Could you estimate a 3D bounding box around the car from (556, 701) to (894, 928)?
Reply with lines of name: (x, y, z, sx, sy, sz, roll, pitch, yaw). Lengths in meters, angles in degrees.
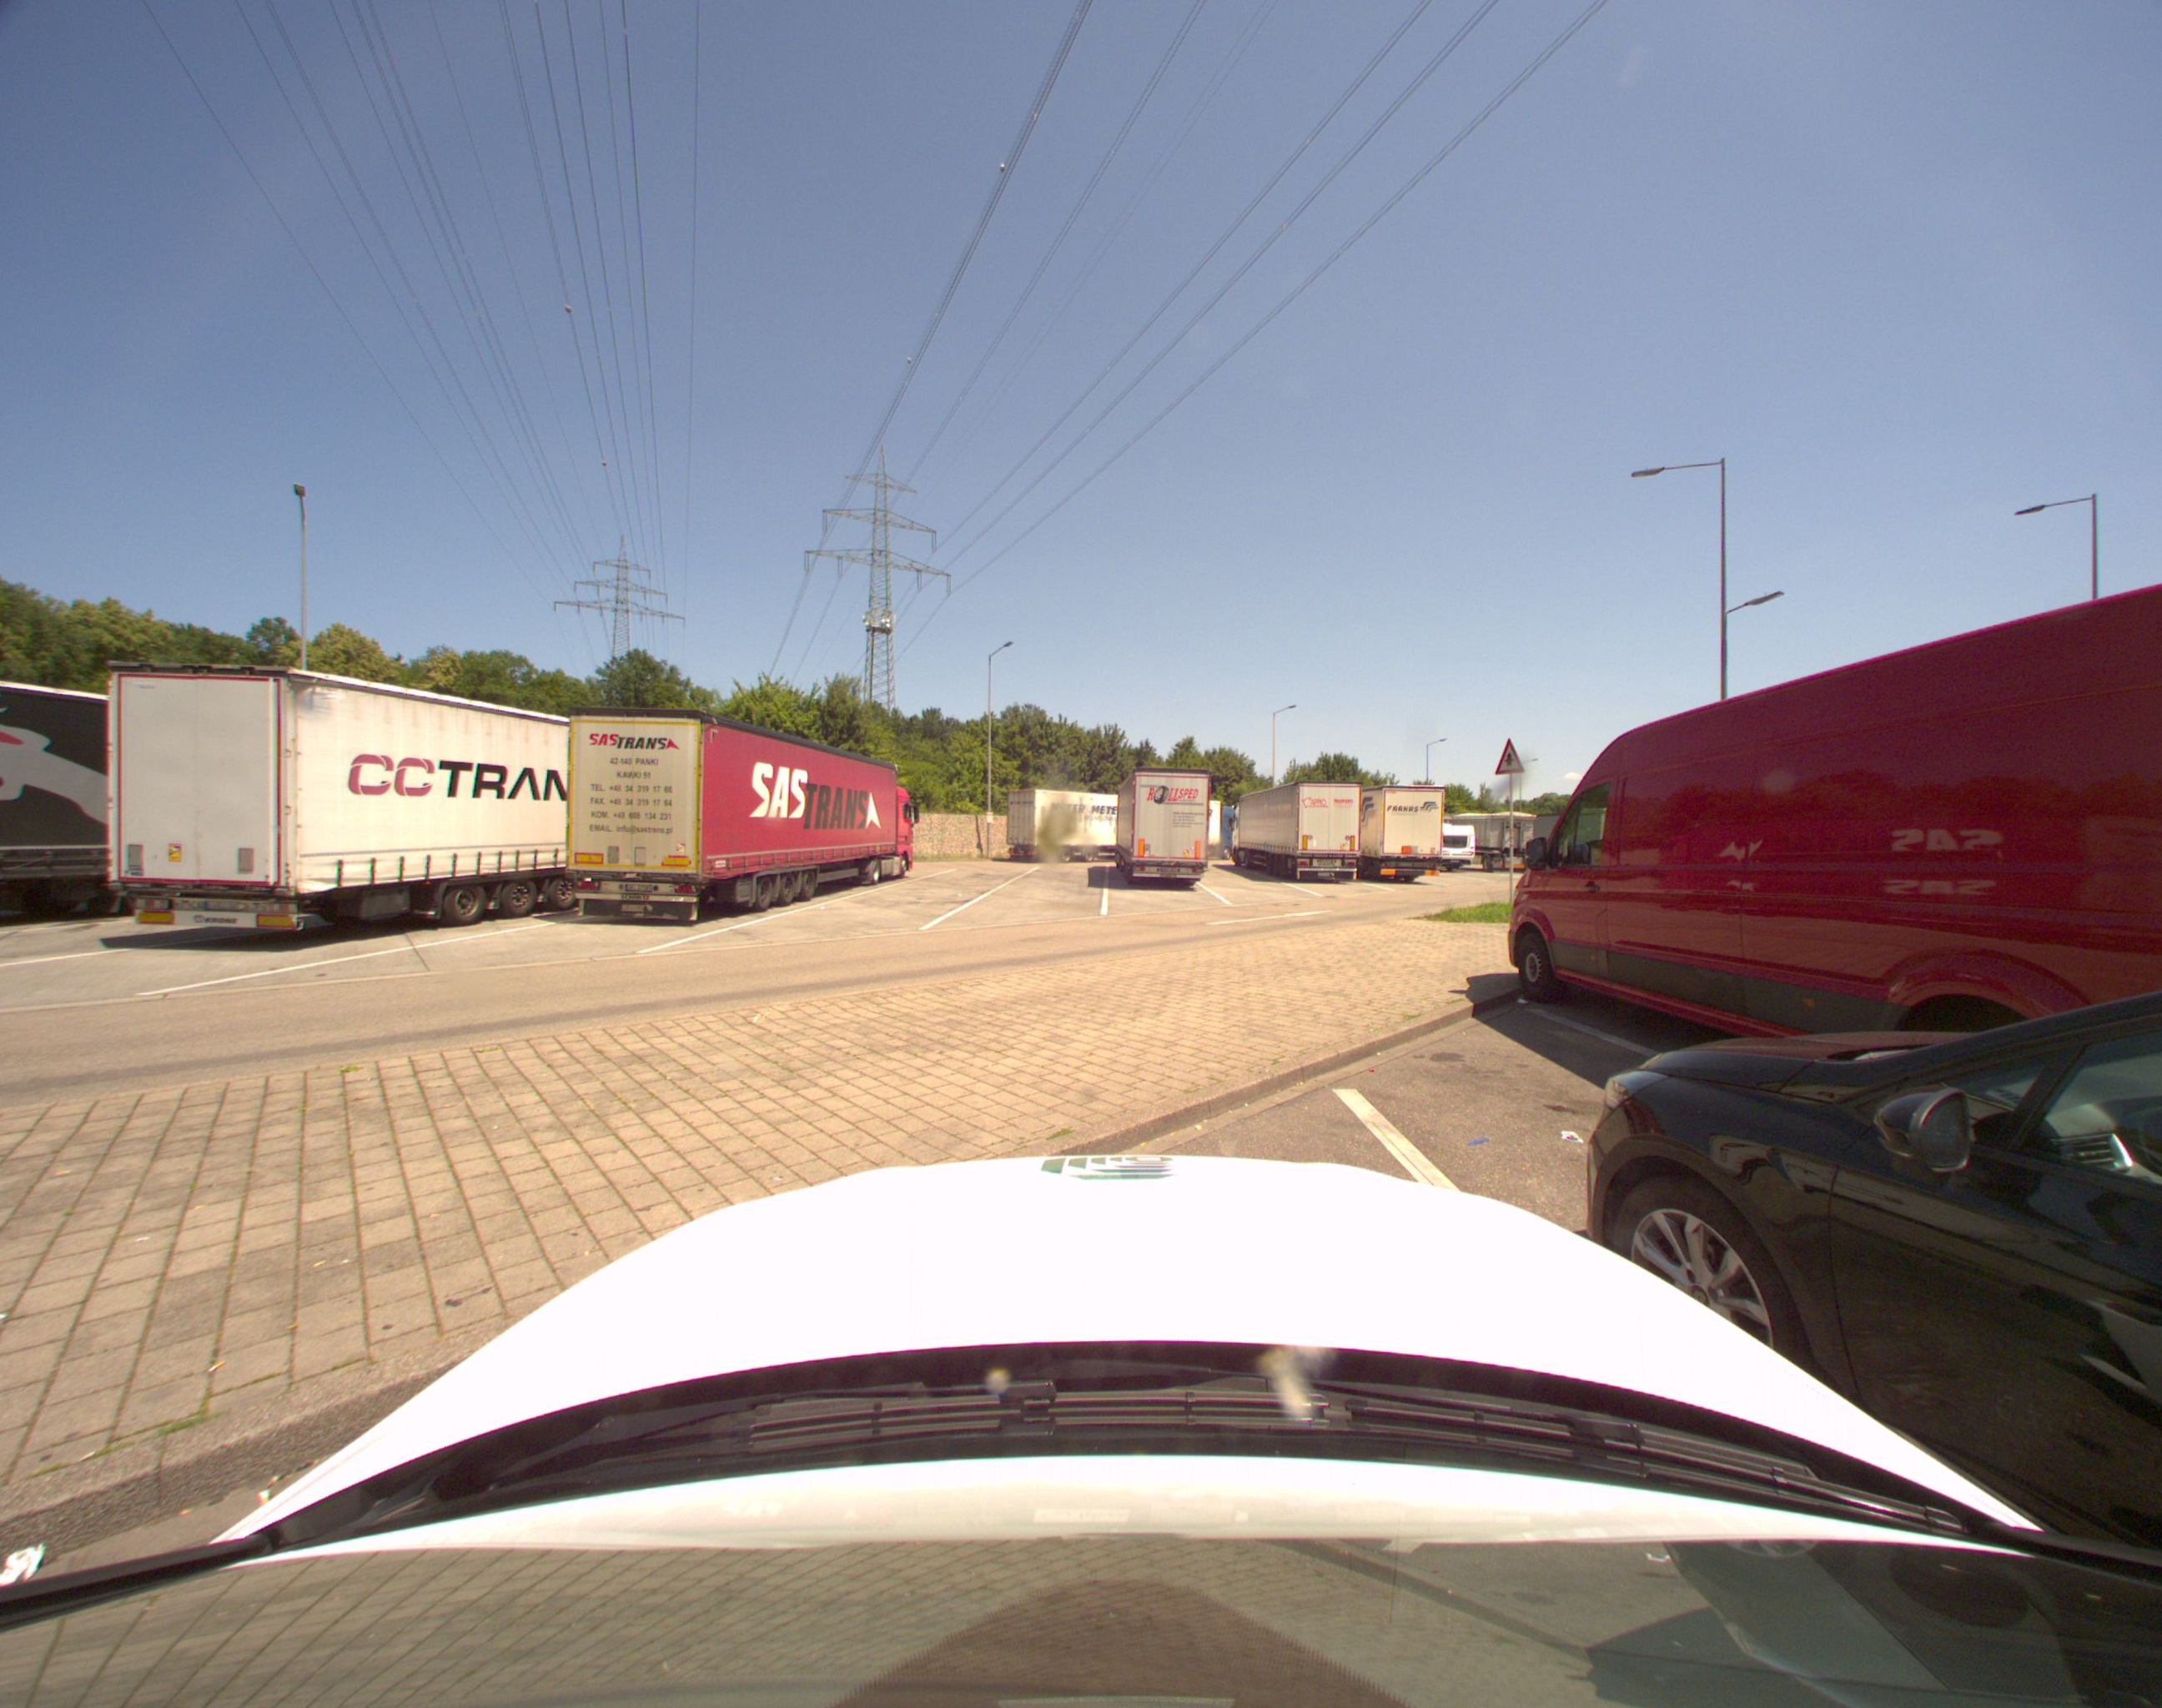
car: (-8.053, -0.934, 21.430, 2.686, 4.112, 12.943, 1, 2, 2)

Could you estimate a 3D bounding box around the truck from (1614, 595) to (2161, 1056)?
truck: (7.934, -0.213, 7.060, 2.455, 2.792, 6.978, 0, 1, 4)

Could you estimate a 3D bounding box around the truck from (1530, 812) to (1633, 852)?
truck: (38.033, -1.649, 62.372, 2.117, 2.820, 9.783, -1, 1, 2)

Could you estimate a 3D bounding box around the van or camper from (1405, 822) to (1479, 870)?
van or camper: (20.588, -0.469, 46.736, 2.096, 2.561, 5.376, -1, 1, 3)

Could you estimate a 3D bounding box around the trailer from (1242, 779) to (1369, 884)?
trailer: (9.951, -1.105, 37.897, 2.856, 4.037, 12.445, 0, 2, 2)

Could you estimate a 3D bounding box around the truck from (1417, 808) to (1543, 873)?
truck: (24.298, -0.960, 50.495, 2.478, 3.568, 11.429, 0, 2, 2)

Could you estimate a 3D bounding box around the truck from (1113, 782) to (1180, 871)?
truck: (3.136, -1.394, 40.813, 2.857, 4.037, 7.029, 0, 2, 1)

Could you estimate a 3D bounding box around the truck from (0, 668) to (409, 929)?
truck: (-18.622, -1.021, 16.267, 2.803, 4.190, 8.793, 0, 2, 2)

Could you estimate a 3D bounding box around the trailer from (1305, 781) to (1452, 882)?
trailer: (13.639, -1.125, 38.872, 2.856, 4.037, 12.445, 0, 2, 2)

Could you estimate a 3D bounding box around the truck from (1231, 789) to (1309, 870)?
truck: (10.177, -1.369, 44.529, 2.856, 4.037, 6.960, 0, 2, 2)

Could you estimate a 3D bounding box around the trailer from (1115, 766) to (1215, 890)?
trailer: (3.042, -1.105, 33.725, 2.857, 4.037, 14.244, 0, 2, 1)

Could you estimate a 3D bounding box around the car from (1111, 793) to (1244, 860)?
car: (6.671, -1.815, 54.888, 10.271, 4.188, 2.657, -1, 3, -42)

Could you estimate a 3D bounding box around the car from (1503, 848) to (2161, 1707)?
car: (2.449, 0.754, 1.137, 1.612, 1.483, 3.762, -1, 1, -4)

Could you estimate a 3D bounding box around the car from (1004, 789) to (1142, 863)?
car: (-0.317, -1.652, 48.593, 8.514, 4.043, 2.657, -1, 3, -42)

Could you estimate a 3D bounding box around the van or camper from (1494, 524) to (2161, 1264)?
van or camper: (5.133, 0.099, 5.488, 1.986, 2.654, 6.490, -1, 1, 6)

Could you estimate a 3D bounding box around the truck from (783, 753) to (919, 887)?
truck: (-7.753, -1.153, 28.346, 2.686, 4.112, 6.243, 1, 2, 2)

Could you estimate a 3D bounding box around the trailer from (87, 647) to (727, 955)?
trailer: (-12.167, -0.975, 17.786, 2.803, 4.266, 12.947, 0, 2, 2)
